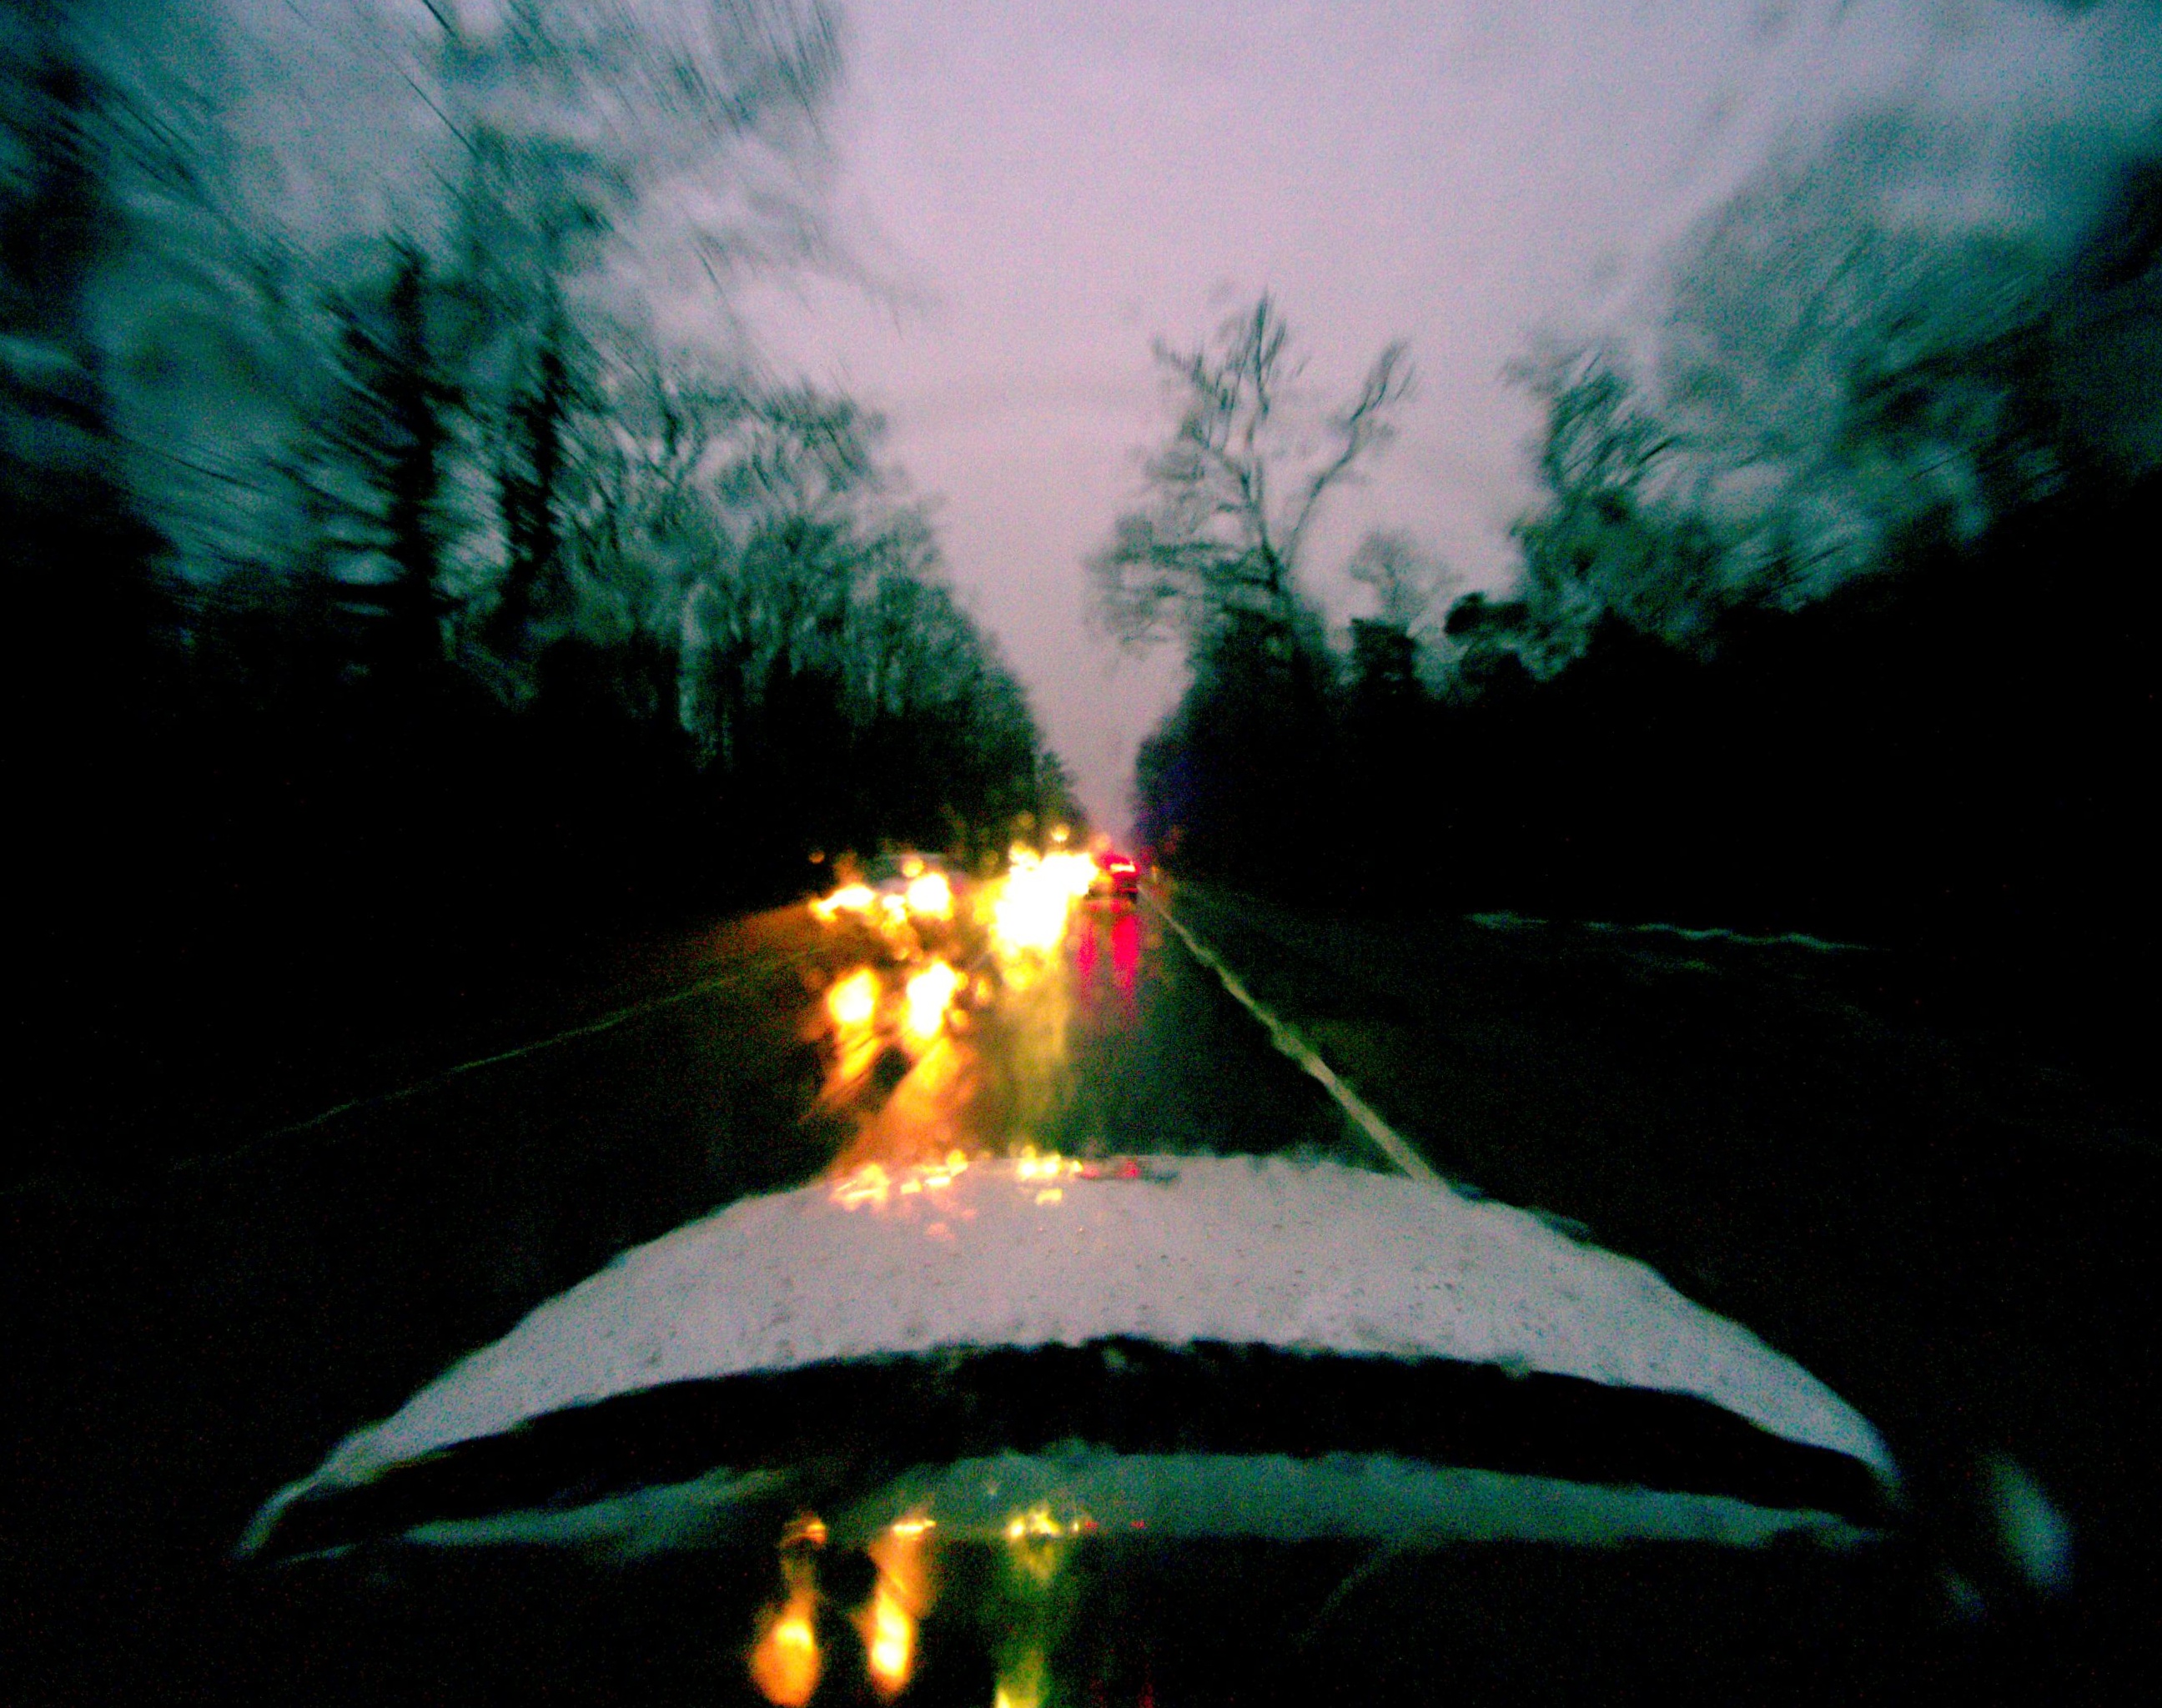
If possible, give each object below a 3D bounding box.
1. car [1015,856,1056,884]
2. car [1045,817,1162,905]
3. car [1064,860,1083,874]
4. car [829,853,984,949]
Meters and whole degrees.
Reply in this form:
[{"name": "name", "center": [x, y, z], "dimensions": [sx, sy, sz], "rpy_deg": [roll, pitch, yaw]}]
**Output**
[{"name": "car", "center": [-2.455, 0.843, 44.784], "dimensions": [1.861, 1.422, 4.389], "rpy_deg": [-2, 0, 2]}, {"name": "car", "center": [0.777, 0.215, 25.699], "dimensions": [3.171, 2.386, 6.640], "rpy_deg": [-1, 0, 3]}, {"name": "car", "center": [-0.842, 1.498, 95.196], "dimensions": [2.068, 1.616, 4.152], "rpy_deg": [-2, -1, 1]}, {"name": "car", "center": [-3.356, 0.828, 16.789], "dimensions": [1.911, 1.608, 5.018], "rpy_deg": [-2, 0, 2]}]
